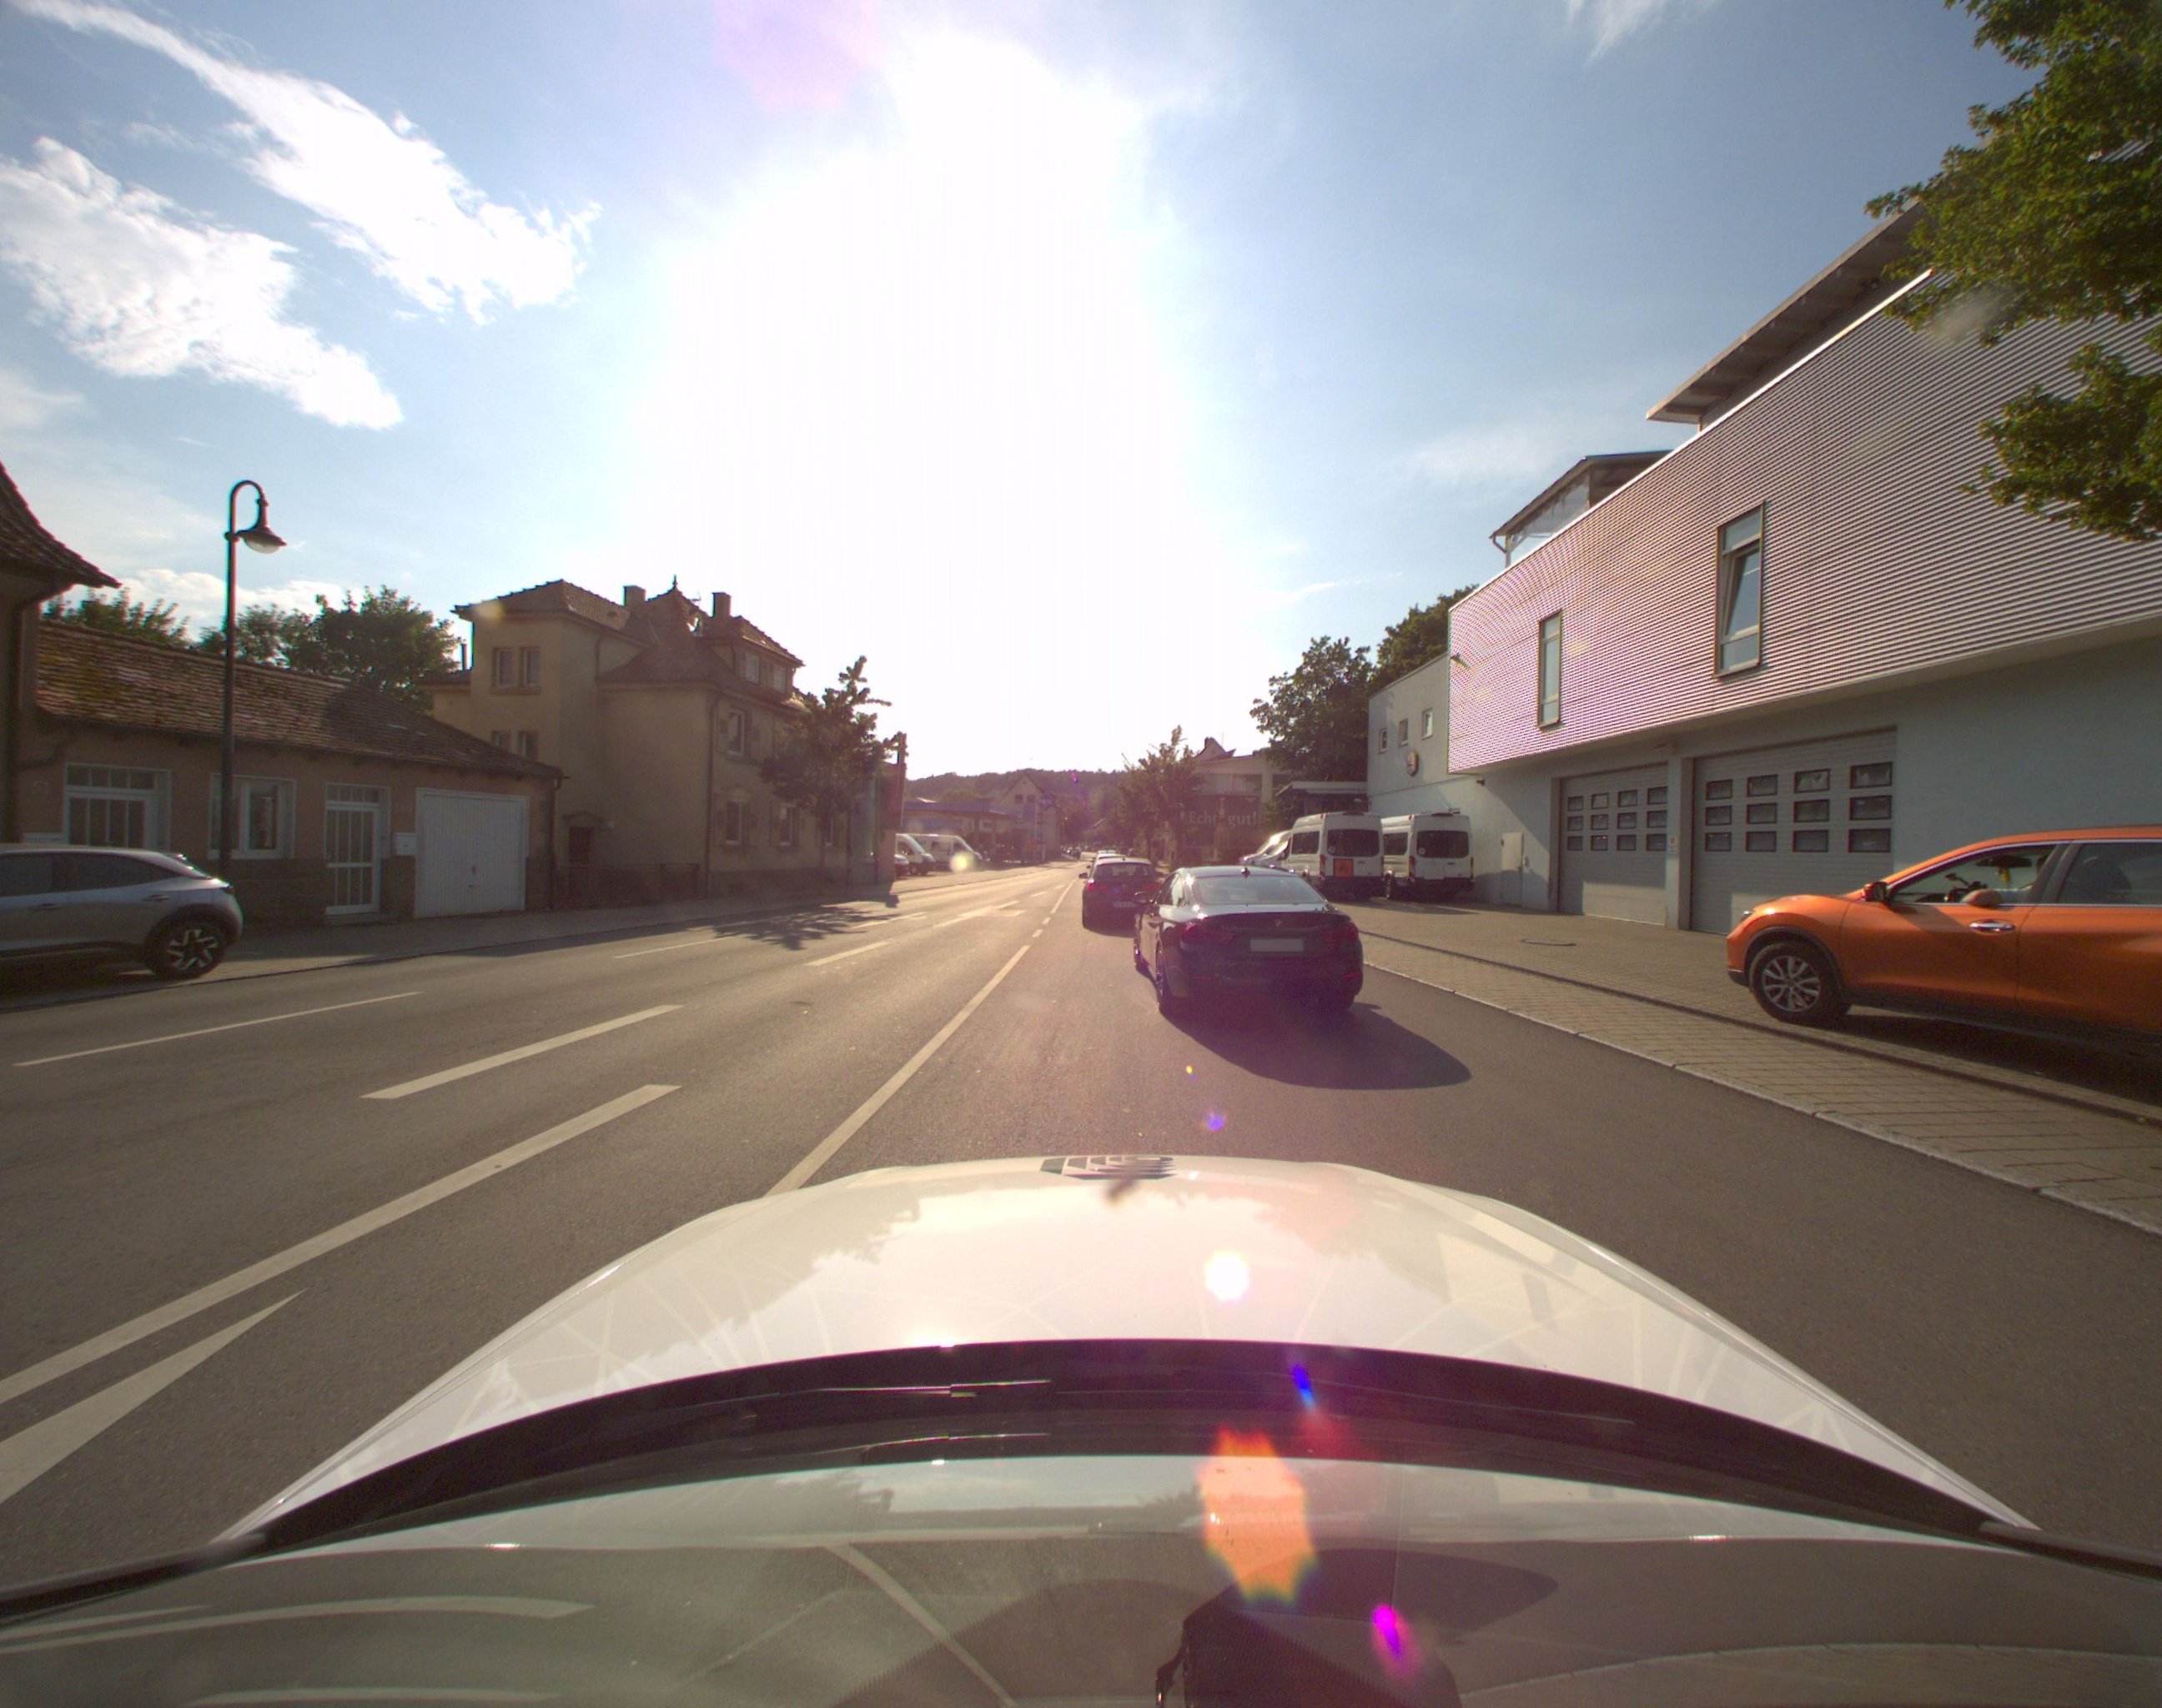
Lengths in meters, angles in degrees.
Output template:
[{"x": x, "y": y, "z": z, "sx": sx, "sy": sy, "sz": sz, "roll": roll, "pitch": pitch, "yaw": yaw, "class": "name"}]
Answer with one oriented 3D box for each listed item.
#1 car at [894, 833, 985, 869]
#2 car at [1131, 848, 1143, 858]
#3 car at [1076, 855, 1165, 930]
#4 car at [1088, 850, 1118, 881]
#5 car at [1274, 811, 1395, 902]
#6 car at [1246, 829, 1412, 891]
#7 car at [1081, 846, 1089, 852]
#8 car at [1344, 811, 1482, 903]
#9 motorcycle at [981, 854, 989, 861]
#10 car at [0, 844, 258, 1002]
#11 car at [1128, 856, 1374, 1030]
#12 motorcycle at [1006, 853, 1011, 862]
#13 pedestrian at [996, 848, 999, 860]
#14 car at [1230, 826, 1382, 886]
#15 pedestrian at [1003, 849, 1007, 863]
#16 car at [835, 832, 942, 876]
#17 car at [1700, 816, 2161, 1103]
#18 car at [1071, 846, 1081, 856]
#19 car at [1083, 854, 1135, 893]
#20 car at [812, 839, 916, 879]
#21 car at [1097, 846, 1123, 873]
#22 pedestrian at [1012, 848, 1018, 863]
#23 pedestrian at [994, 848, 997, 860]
[{"x": -10.256, "y": -0.212, "z": 59.437, "sx": 6.134, "sy": 2.444, "sz": 2.251, "roll": 1, "pitch": 0, "yaw": 2, "class": "car"}, {"x": 8.524, "y": -0.182, "z": 124.534, "sx": 1.591, "sy": 1.485, "sz": 3.476, "roll": 1, "pitch": 1, "yaw": 1, "class": "car"}, {"x": 0.899, "y": 0.768, "z": 17.944, "sx": 1.764, "sy": 1.456, "sz": 3.519, "roll": 0, "pitch": 0, "yaw": 4, "class": "car"}, {"x": 1.233, "y": 0.609, "z": 45.619, "sx": 1.586, "sy": 1.600, "sz": 3.895, "roll": 0, "pitch": 1, "yaw": 1, "class": "car"}, {"x": 8.268, "y": 0.047, "z": 27.373, "sx": 2.142, "sy": 2.680, "sz": 6.605, "roll": 0, "pitch": 1, "yaw": 1, "class": "car"}, {"x": 9.748, "y": 0.228, "z": 32.361, "sx": 6.024, "sy": 2.363, "sz": 2.044, "roll": 0, "pitch": 0, "yaw": 0, "class": "car"}, {"x": 0.966, "y": -1.205, "z": 191.696, "sx": 1.591, "sy": 1.485, "sz": 3.476, "roll": 1, "pitch": 1, "yaw": 1, "class": "car"}, {"x": 10.960, "y": 0.049, "z": 27.553, "sx": 2.104, "sy": 2.721, "sz": 6.444, "roll": 0, "pitch": 1, "yaw": 1, "class": "car"}, {"x": -10.631, "y": 0.358, "z": 90.544, "sx": 0.456, "sy": 0.730, "sz": 1.477, "roll": 0, "pitch": 0, "yaw": 10, "class": "motorcycle"}, {"x": -11.512, "y": 0.678, "z": 8.348, "sx": 1.746, "sy": 1.479, "sz": 4.009, "roll": 3, "pitch": 1, "yaw": 8, "class": "car"}, {"x": 1.547, "y": 0.748, "z": 8.933, "sx": 1.695, "sy": 1.369, "sz": 4.259, "roll": 0, "pitch": 1, "yaw": -2, "class": "car"}, {"x": -7.989, "y": 0.400, "z": 90.018, "sx": 0.362, "sy": 0.943, "sz": 1.696, "roll": 0, "pitch": 1, "yaw": 1, "class": "motorcycle"}, {"x": -9.165, "y": -0.011, "z": 89.645, "sx": 0.261, "sy": 1.383, "sz": 0.288, "roll": 0, "pitch": 0, "yaw": 2, "class": "pedestrian"}, {"x": 9.667, "y": 0.083, "z": 35.342, "sx": 6.024, "sy": 2.516, "sz": 2.044, "roll": 0, "pitch": 0, "yaw": 0, "class": "car"}, {"x": -8.411, "y": 0.229, "z": 90.477, "sx": 0.406, "sy": 1.547, "sz": 0.432, "roll": 0, "pitch": 0, "yaw": -1, "class": "pedestrian"}, {"x": -11.695, "y": -0.028, "z": 49.682, "sx": 5.889, "sy": 2.480, "sz": 2.198, "roll": 1, "pitch": 1, "yaw": 6, "class": "car"}, {"x": 7.044, "y": 0.609, "z": 5.655, "sx": 1.831, "sy": 1.649, "sz": 4.530, "roll": 0, "pitch": 0, "yaw": -5, "class": "car"}, {"x": -0.778, "y": -0.506, "z": 137.183, "sx": 1.591, "sy": 1.485, "sz": 3.476, "roll": 1, "pitch": 1, "yaw": 1, "class": "car"}, {"x": 1.056, "y": 0.747, "z": 32.390, "sx": 1.750, "sy": 1.414, "sz": 3.418, "roll": 0, "pitch": 1, "yaw": -3, "class": "car"}, {"x": -11.633, "y": 0.251, "z": 43.871, "sx": 4.952, "sy": 1.999, "sz": 1.938, "roll": 1, "pitch": 0, "yaw": 5, "class": "car"}, {"x": 1.976, "y": 0.347, "z": 55.584, "sx": 1.595, "sy": 1.767, "sz": 3.415, "roll": 0, "pitch": 1, "yaw": 5, "class": "car"}, {"x": -7.332, "y": 0.199, "z": 90.340, "sx": 0.608, "sy": 1.670, "sz": 0.442, "roll": 0, "pitch": 0, "yaw": -1, "class": "pedestrian"}, {"x": -9.331, "y": 0.020, "z": 88.857, "sx": 0.286, "sy": 1.366, "sz": 0.262, "roll": 0, "pitch": 0, "yaw": -2, "class": "pedestrian"}]
